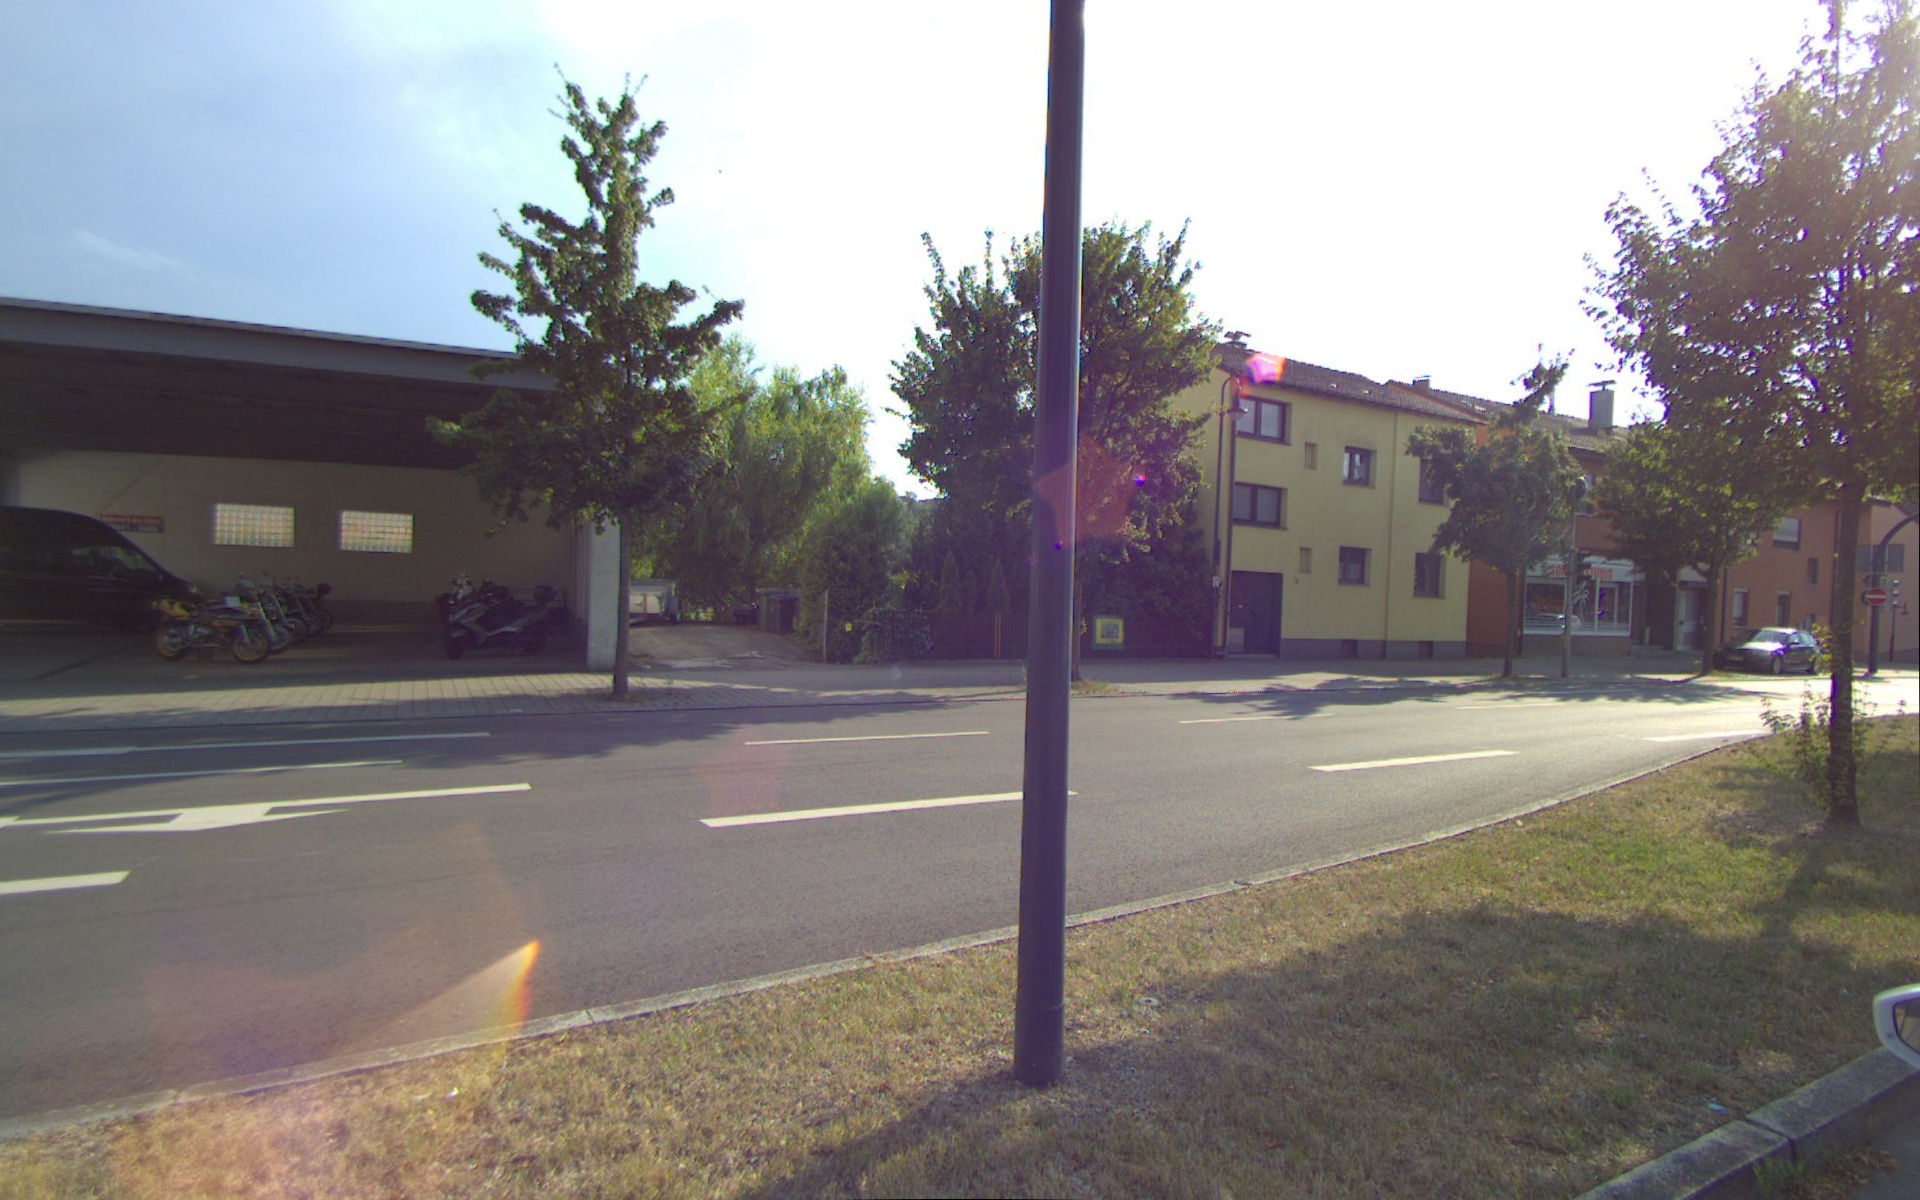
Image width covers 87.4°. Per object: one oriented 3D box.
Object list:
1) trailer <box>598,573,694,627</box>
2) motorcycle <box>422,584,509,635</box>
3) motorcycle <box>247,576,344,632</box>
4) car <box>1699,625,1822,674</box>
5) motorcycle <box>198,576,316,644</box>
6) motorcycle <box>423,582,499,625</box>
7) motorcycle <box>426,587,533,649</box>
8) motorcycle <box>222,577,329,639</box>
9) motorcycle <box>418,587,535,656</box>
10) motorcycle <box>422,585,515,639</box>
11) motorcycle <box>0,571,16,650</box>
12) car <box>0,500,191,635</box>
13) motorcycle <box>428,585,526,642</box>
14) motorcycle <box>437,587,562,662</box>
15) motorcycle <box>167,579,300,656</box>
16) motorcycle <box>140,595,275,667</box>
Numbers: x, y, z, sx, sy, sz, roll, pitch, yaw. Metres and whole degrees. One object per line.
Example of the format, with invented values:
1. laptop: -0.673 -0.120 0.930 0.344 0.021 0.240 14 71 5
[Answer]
1. trailer: -8.217 -0.010 26.613 1.698 1.280 3.995 1 0 -7
2. motorcycle: -13.513 0.237 27.514 0.621 1.314 2.113 1 2 36
3. motorcycle: -16.909 0.099 25.568 2.219 1.354 0.631 1 0 10
4. car: 25.969 1.592 32.551 3.953 1.319 1.728 1 4 -30
5. motorcycle: -14.752 0.202 21.100 2.219 1.354 0.631 1 0 10
6. motorcycle: -15.959 0.097 32.172 0.621 1.314 2.113 1 2 36
7. motorcycle: -10.742 0.381 22.532 0.621 1.314 2.113 1 2 36
8. motorcycle: -15.884 0.179 23.309 2.219 1.354 0.631 1 0 10
9. motorcycle: -9.812 0.399 20.455 0.621 1.314 2.113 1 2 36
10. motorcycle: -12.648 0.289 25.916 0.621 1.314 2.113 1 2 36
11. motorcycle: -17.286 0.166 16.720 0.619 1.380 2.225 1 0 24
12. car: -20.452 -0.684 22.086 1.962 2.789 5.280 1 0 26
13. motorcycle: -11.766 0.309 24.533 0.621 1.314 2.113 1 2 36
14. motorcycle: -8.618 0.427 18.892 0.621 1.314 2.113 1 2 36
15. motorcycle: -13.632 0.316 18.857 2.219 1.354 0.631 1 0 10
16. motorcycle: -12.496 0.501 16.692 1.993 1.101 0.631 1 0 12
